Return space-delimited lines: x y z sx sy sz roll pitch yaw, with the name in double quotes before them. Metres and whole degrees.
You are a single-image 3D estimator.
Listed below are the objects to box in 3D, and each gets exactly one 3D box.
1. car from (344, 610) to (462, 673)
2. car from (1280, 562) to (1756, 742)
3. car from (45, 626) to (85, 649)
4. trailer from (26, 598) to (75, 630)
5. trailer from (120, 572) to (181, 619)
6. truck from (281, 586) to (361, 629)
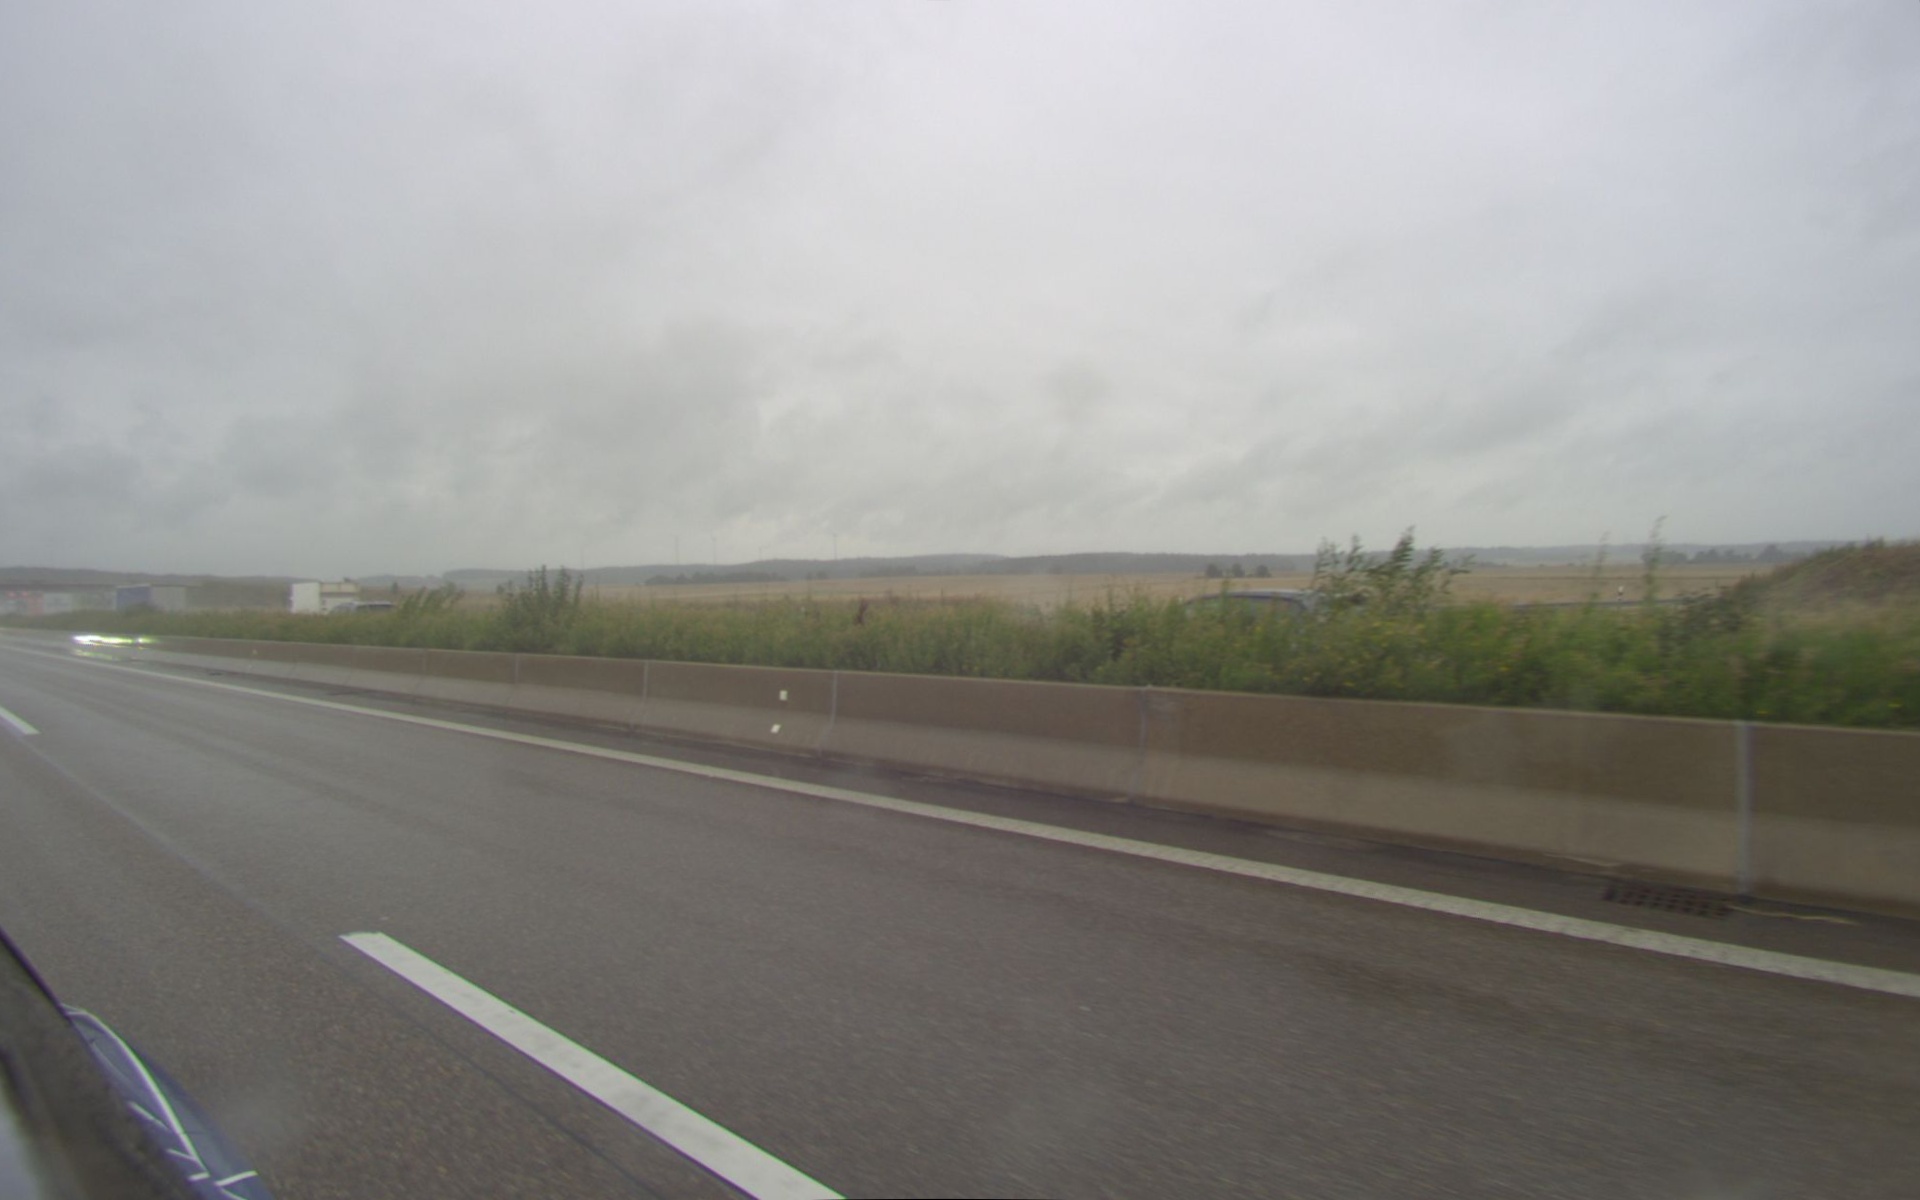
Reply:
"car" -17.659 1.259 32.027 3.997 1.829 1.973 -1 0 41
"car" 5.583 0.448 10.405 3.998 1.497 1.757 -1 0 41
"car" -57.647 2.419 65.149 3.292 1.364 1.542 -1 0 42
"trailer" -103.267 1.583 114.869 9.441 3.483 3.222 -1 -1 43
"trailer" -73.494 -0.323 91.782 13.493 3.969 2.409 -1 1 43
"truck" -46.799 0.538 73.990 8.278 2.930 2.790 -1 0 42
